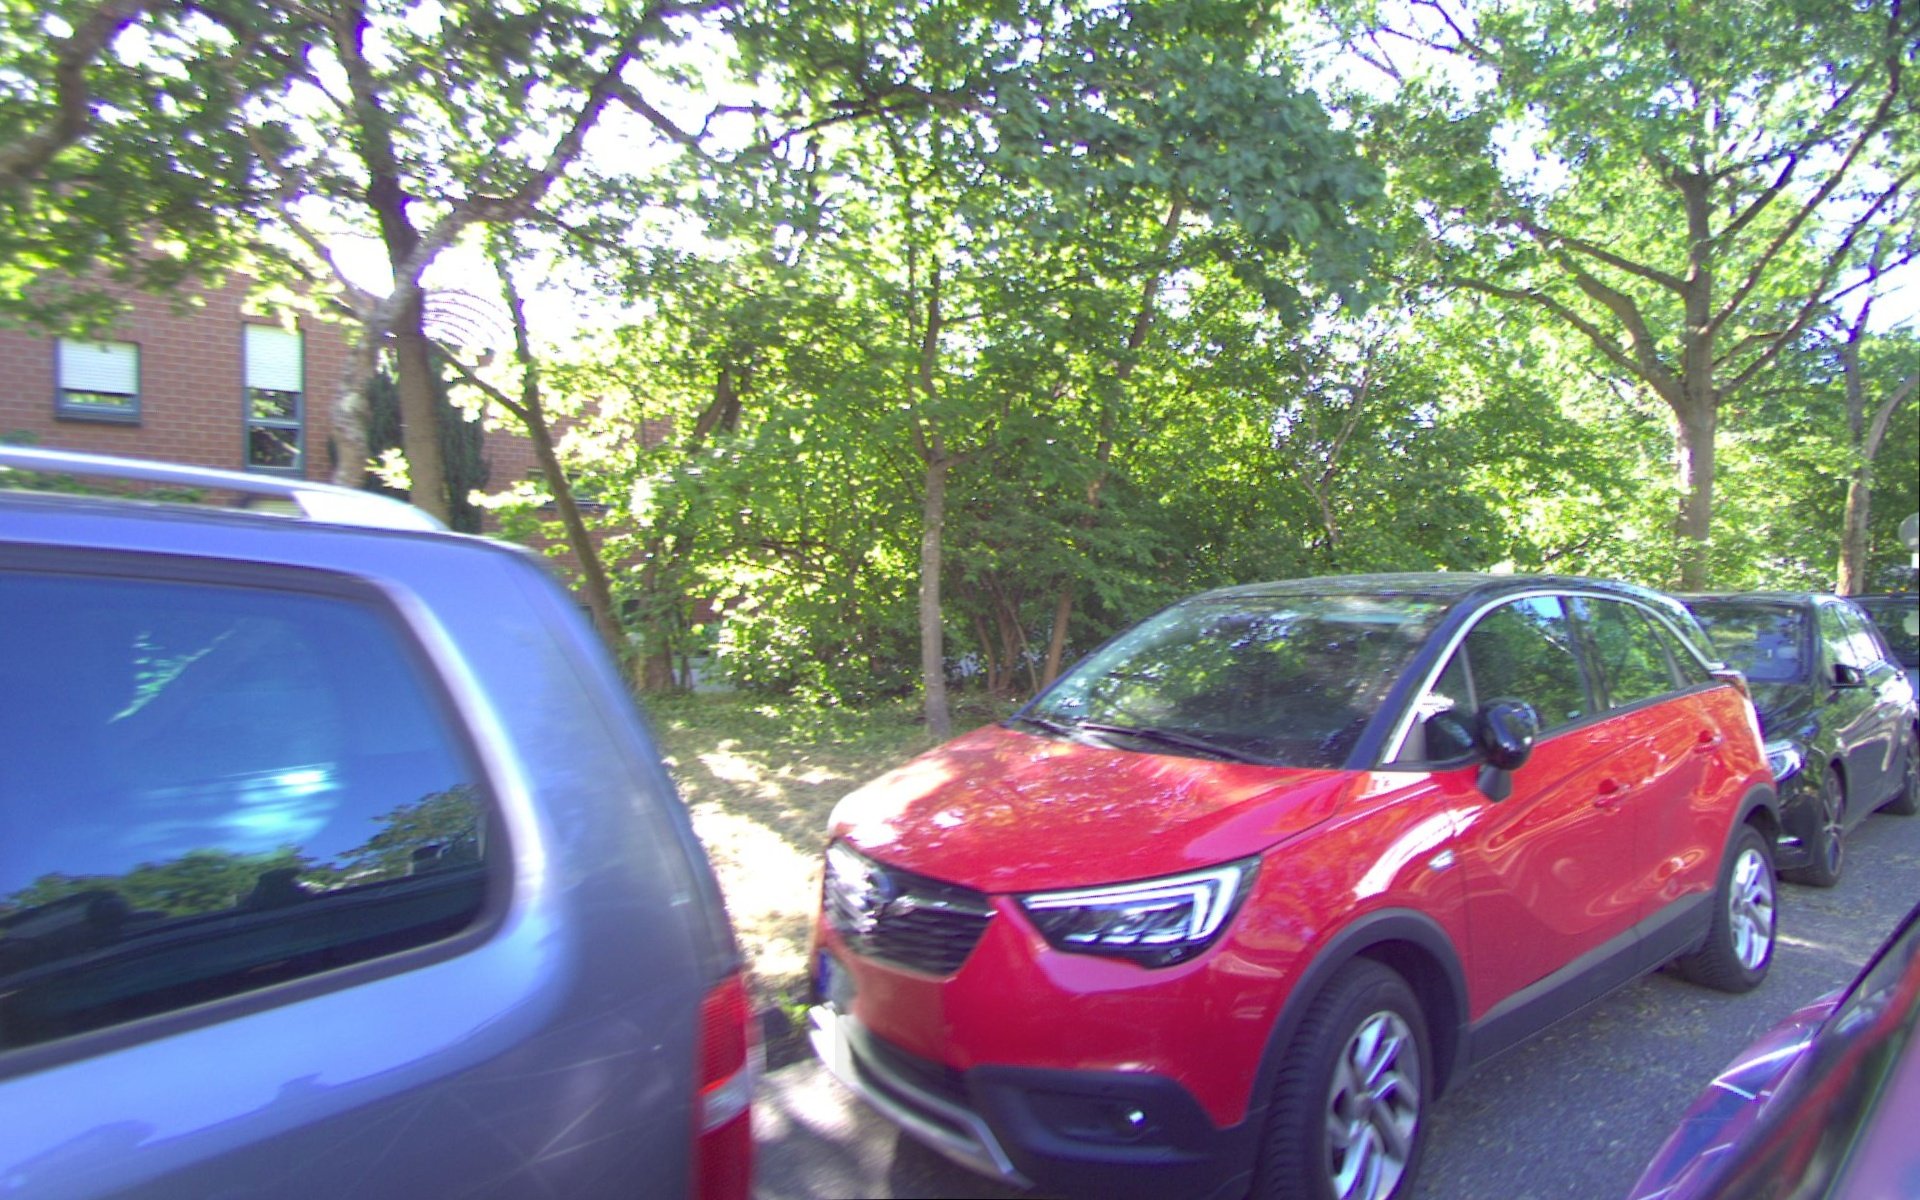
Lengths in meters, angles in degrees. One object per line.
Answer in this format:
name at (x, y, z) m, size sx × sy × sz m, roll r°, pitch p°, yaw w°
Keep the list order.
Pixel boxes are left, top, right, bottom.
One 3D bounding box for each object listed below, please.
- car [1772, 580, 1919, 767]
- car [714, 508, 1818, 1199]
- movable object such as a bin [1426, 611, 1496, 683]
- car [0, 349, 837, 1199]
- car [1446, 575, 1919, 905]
car at (8.804, 0.591, 9.222) m, size 2.626 × 1.528 × 1.498 m, roll 0°, pitch 0°, yaw -35°
car at (1.350, 0.626, 3.594) m, size 3.990 × 1.594 × 1.684 m, roll -1°, pitch 0°, yaw -36°
movable object such as a bin at (7.013, 0.647, 14.167) m, size 0.453 × 0.891 × 0.729 m, roll -7°, pitch 6°, yaw -30°
car at (-2.250, 0.652, 0.583) m, size 4.061 × 1.642 × 1.683 m, roll -1°, pitch 0°, yaw -38°
car at (5.006, 0.636, 6.672) m, size 4.076 × 1.528 × 1.715 m, roll -1°, pitch 0°, yaw -40°
